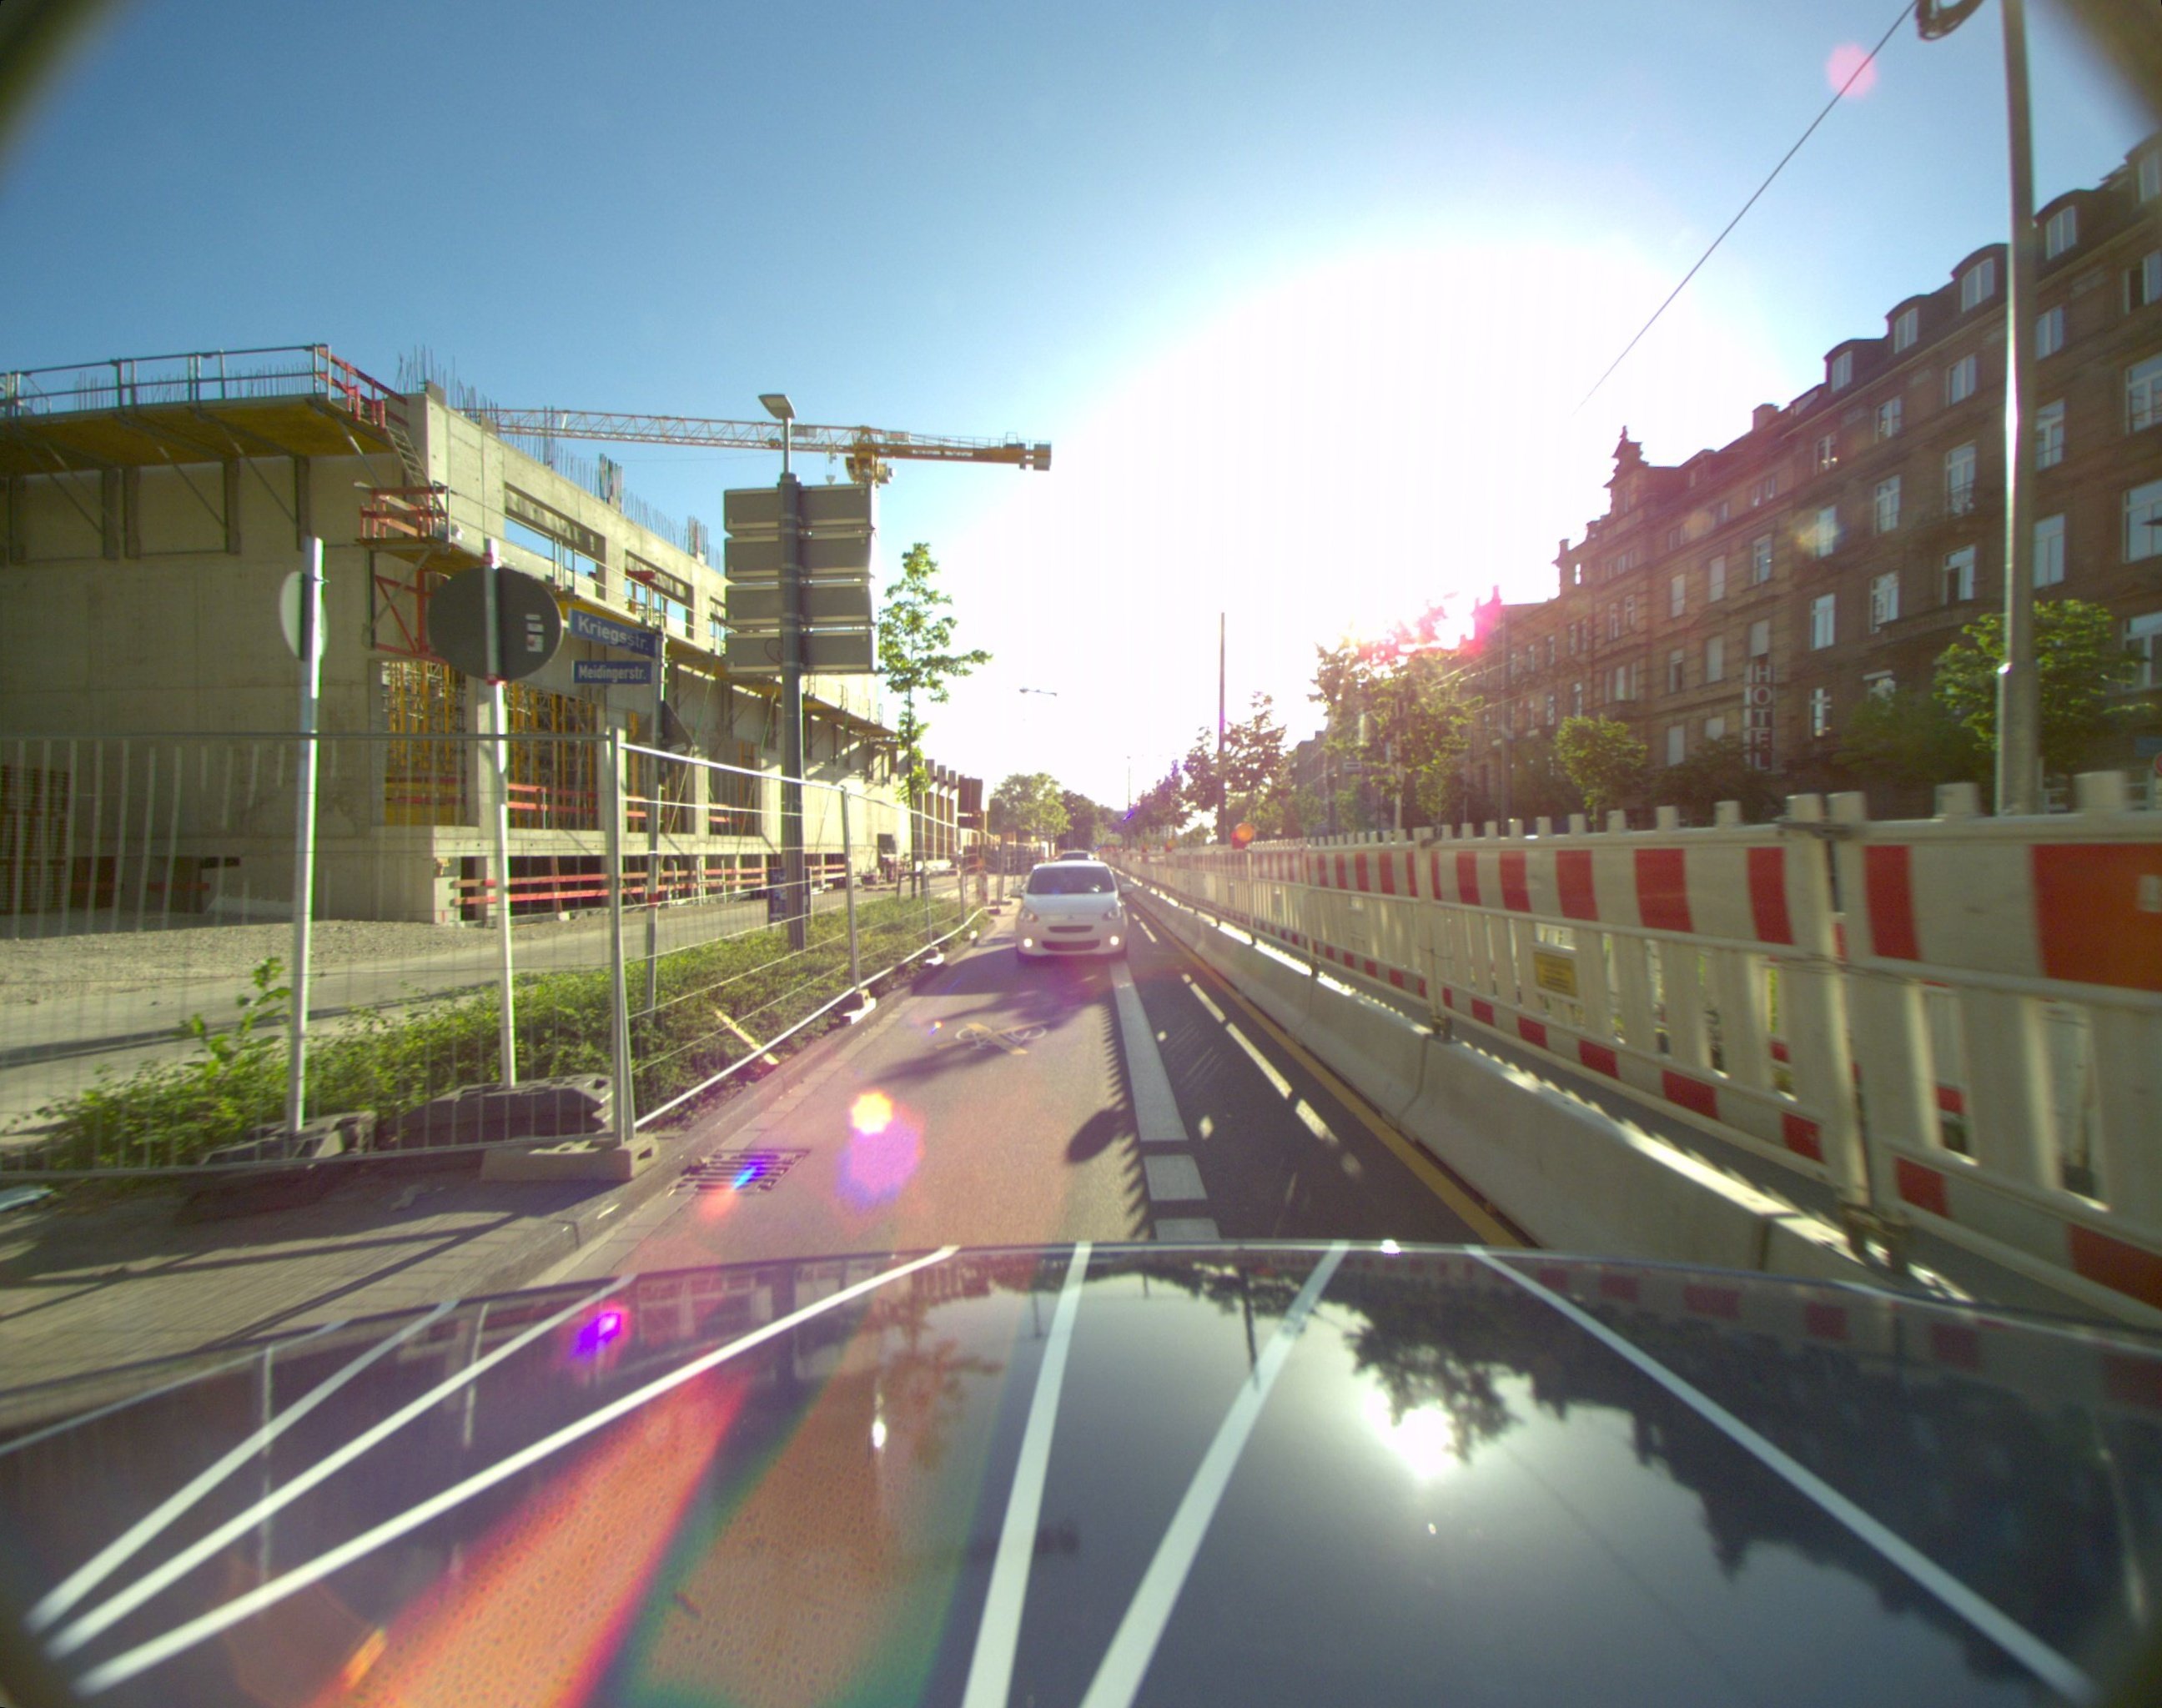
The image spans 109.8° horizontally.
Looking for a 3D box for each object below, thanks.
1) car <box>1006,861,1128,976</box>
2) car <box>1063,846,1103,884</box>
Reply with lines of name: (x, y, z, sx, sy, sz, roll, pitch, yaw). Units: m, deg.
car: (-0.166, 0.914, 12.676, 1.634, 1.499, 4.350, -2, 0, 1)
car: (0.092, 0.505, 38.363, 1.900, 1.730, 3.999, 1, 2, 0)
